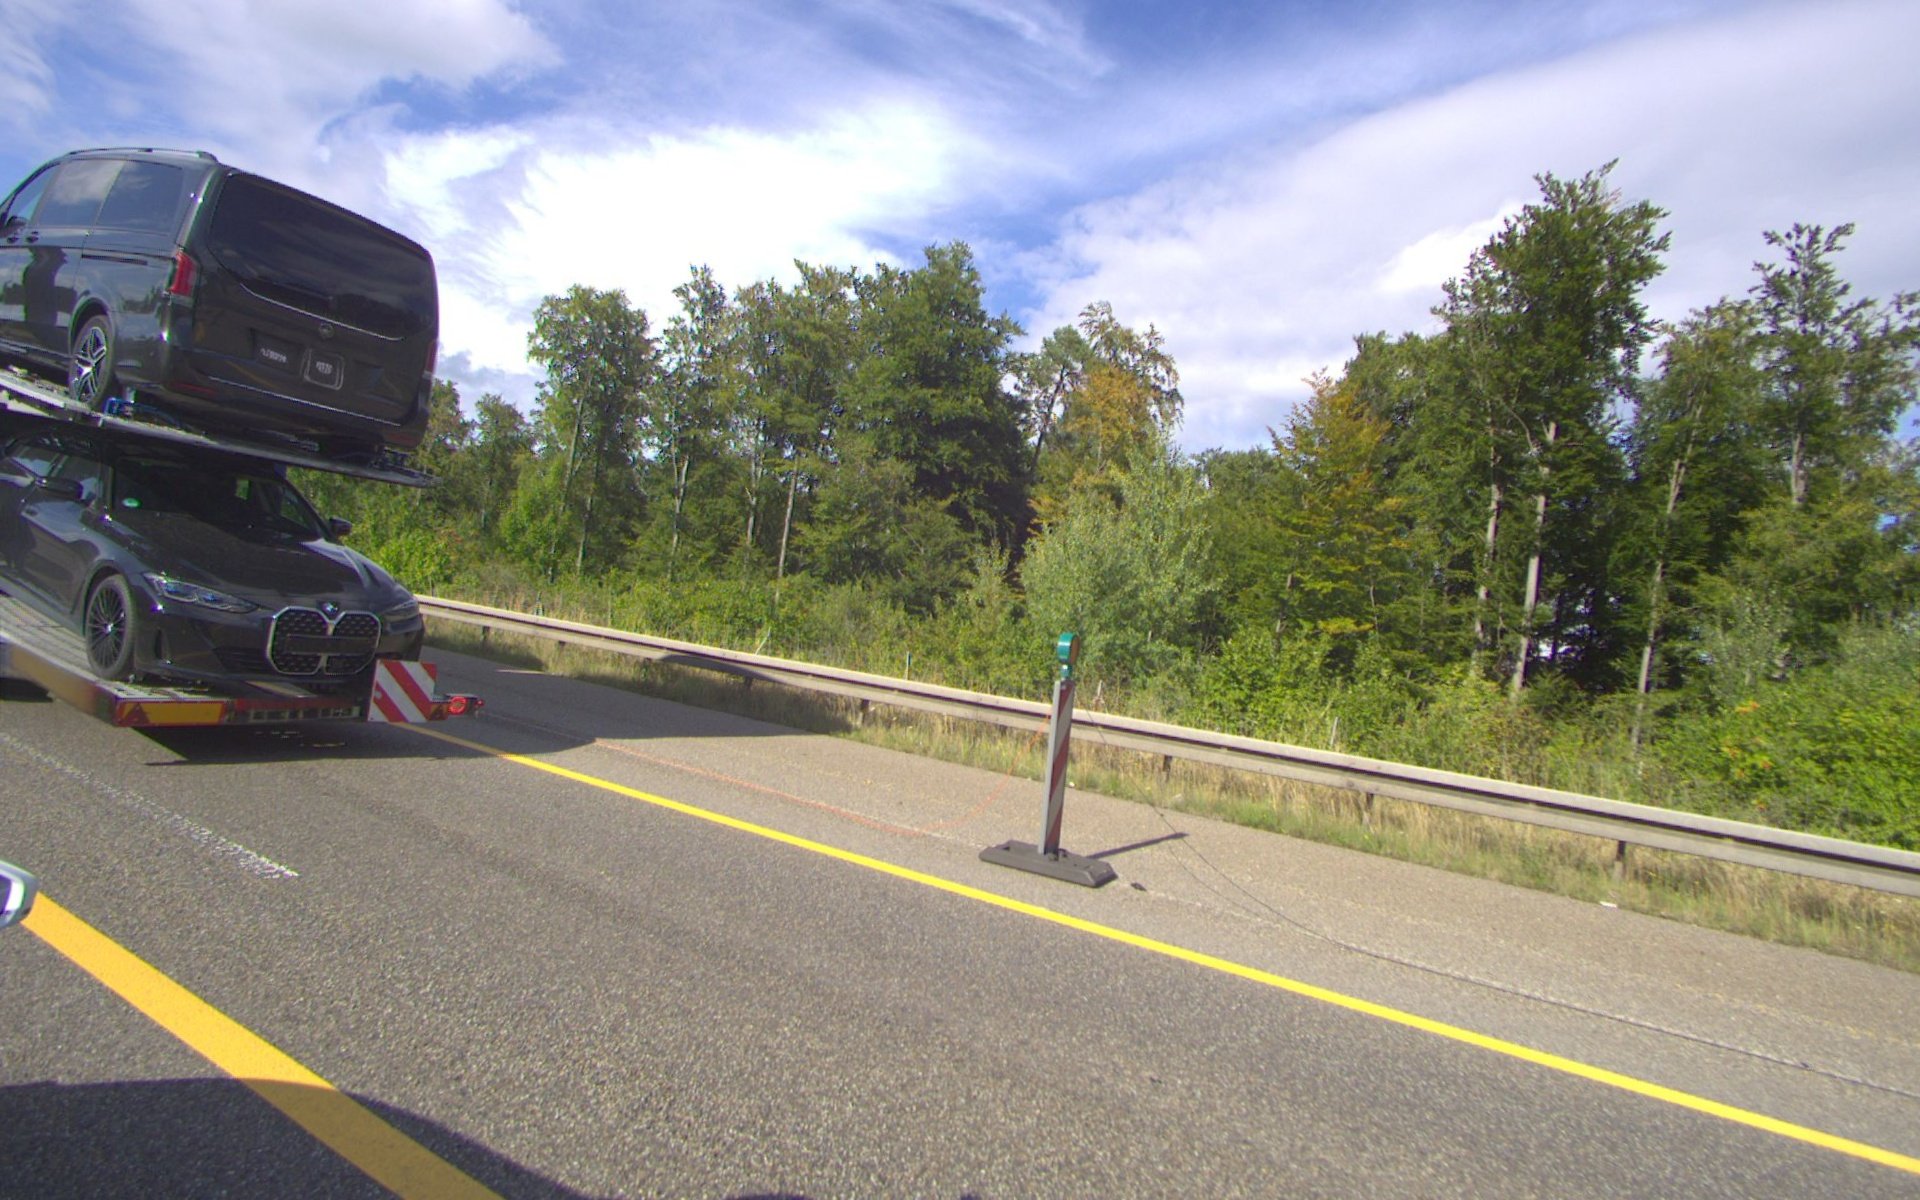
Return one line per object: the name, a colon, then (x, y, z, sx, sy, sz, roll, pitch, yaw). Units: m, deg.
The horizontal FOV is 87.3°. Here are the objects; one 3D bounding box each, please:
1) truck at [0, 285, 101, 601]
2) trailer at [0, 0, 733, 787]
truck: (-17.074, -2.634, 14.963, 7.815, 4.245, 3.770, 6, -1, 30)
trailer: (-9.961, -1.722, 10.856, 15.951, 4.245, 3.734, 6, -1, 30)
